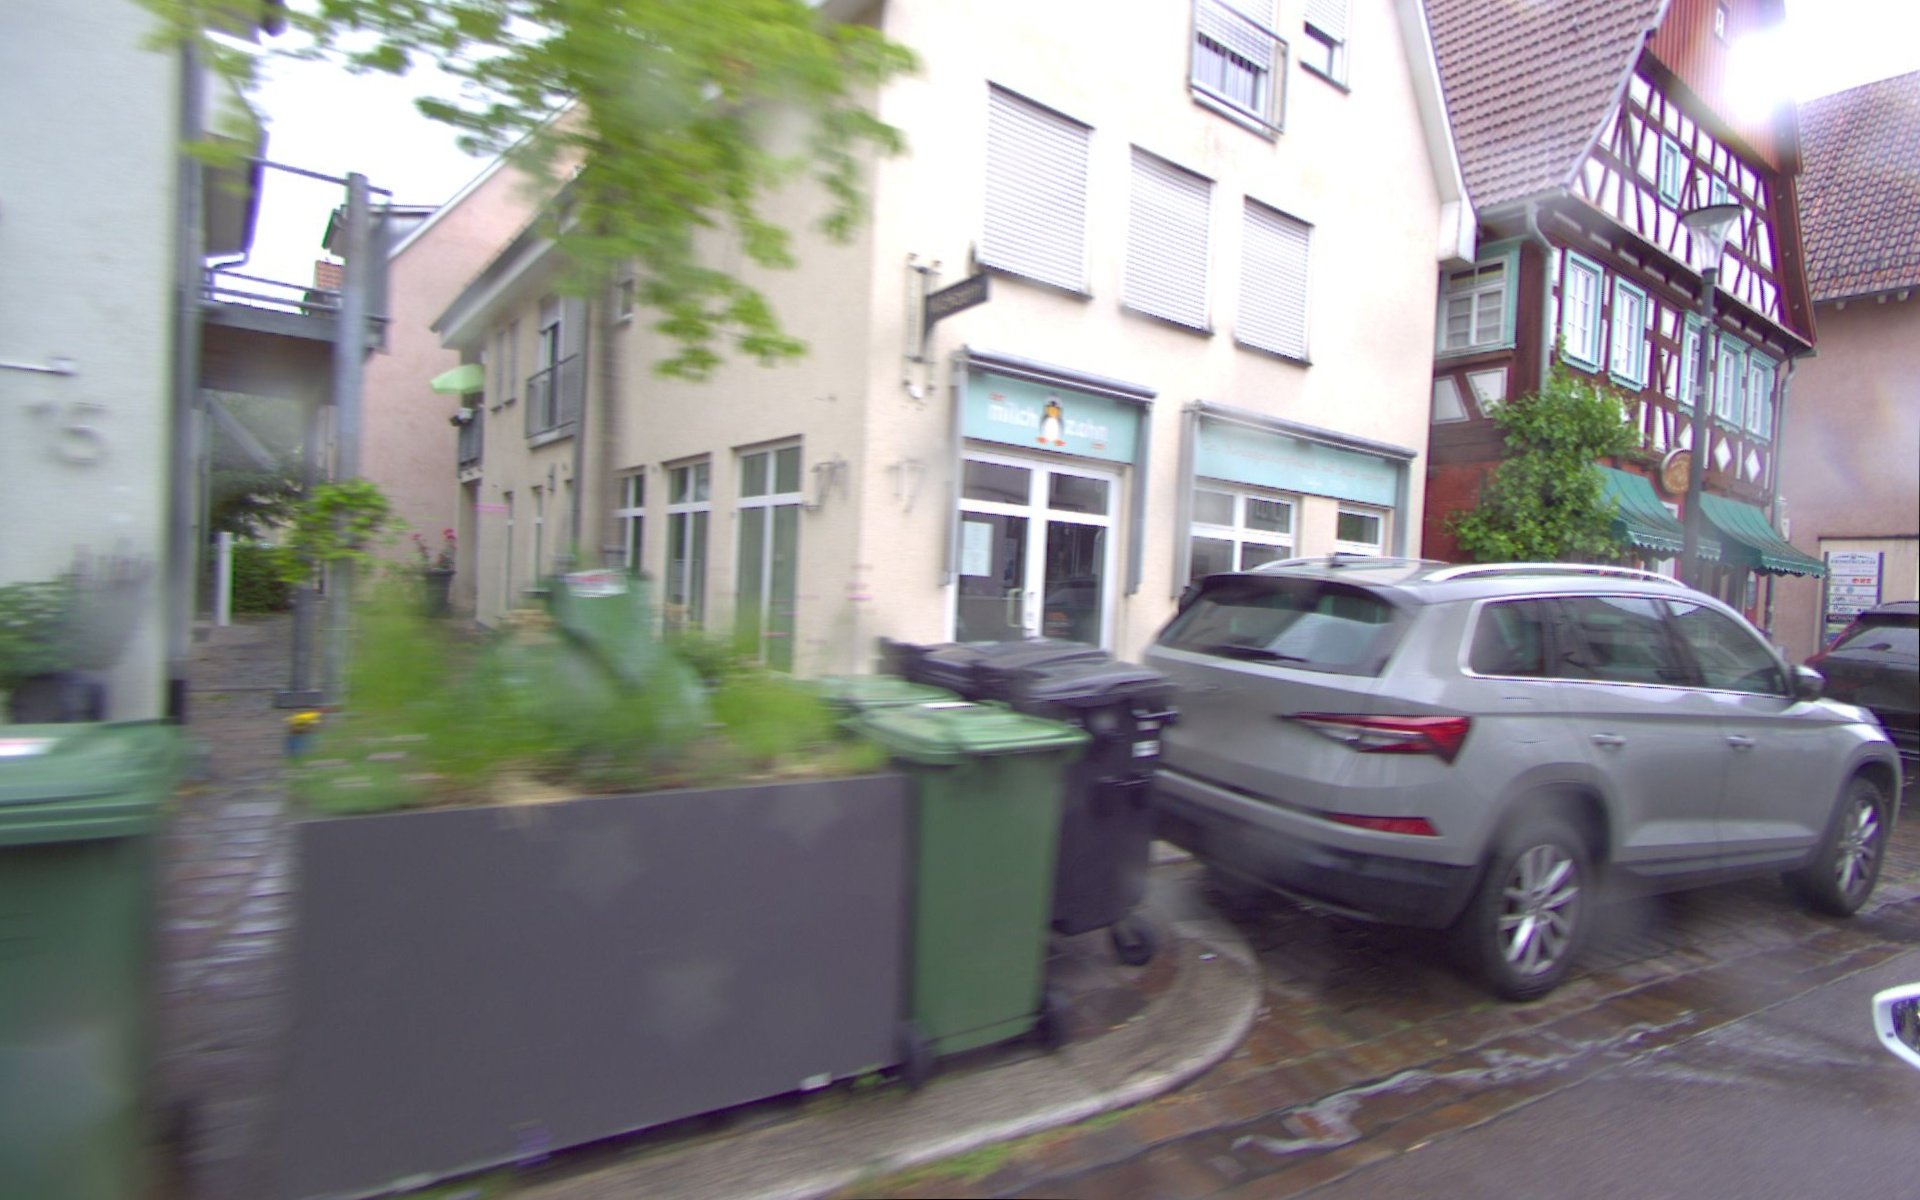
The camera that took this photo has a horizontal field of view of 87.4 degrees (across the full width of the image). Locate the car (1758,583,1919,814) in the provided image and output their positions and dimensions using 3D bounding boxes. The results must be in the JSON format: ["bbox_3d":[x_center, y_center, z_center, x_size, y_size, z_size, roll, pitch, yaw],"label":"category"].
[{"bbox_3d":[8.968,0.830,8.626,4.489,1.697,1.824,3,0,-31],"label":"car"}]

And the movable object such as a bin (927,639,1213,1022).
[{"bbox_3d":[0.393,0.785,3.793,0.740,1.217,0.741,3,0,-28],"label":"movable object such as a bin"}]

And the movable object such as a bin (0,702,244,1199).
[{"bbox_3d":[-1.893,0.776,1.934,0.716,1.093,0.618,3,0,-28],"label":"movable object such as a bin"}]

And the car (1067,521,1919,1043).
[{"bbox_3d":[2.908,0.656,5.094,4.425,1.697,1.764,3,1,-29],"label":"car"}]

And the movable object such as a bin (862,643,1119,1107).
[{"bbox_3d":[0.074,0.765,3.090,0.516,1.217,0.600,3,0,-27],"label":"movable object such as a bin"}]
